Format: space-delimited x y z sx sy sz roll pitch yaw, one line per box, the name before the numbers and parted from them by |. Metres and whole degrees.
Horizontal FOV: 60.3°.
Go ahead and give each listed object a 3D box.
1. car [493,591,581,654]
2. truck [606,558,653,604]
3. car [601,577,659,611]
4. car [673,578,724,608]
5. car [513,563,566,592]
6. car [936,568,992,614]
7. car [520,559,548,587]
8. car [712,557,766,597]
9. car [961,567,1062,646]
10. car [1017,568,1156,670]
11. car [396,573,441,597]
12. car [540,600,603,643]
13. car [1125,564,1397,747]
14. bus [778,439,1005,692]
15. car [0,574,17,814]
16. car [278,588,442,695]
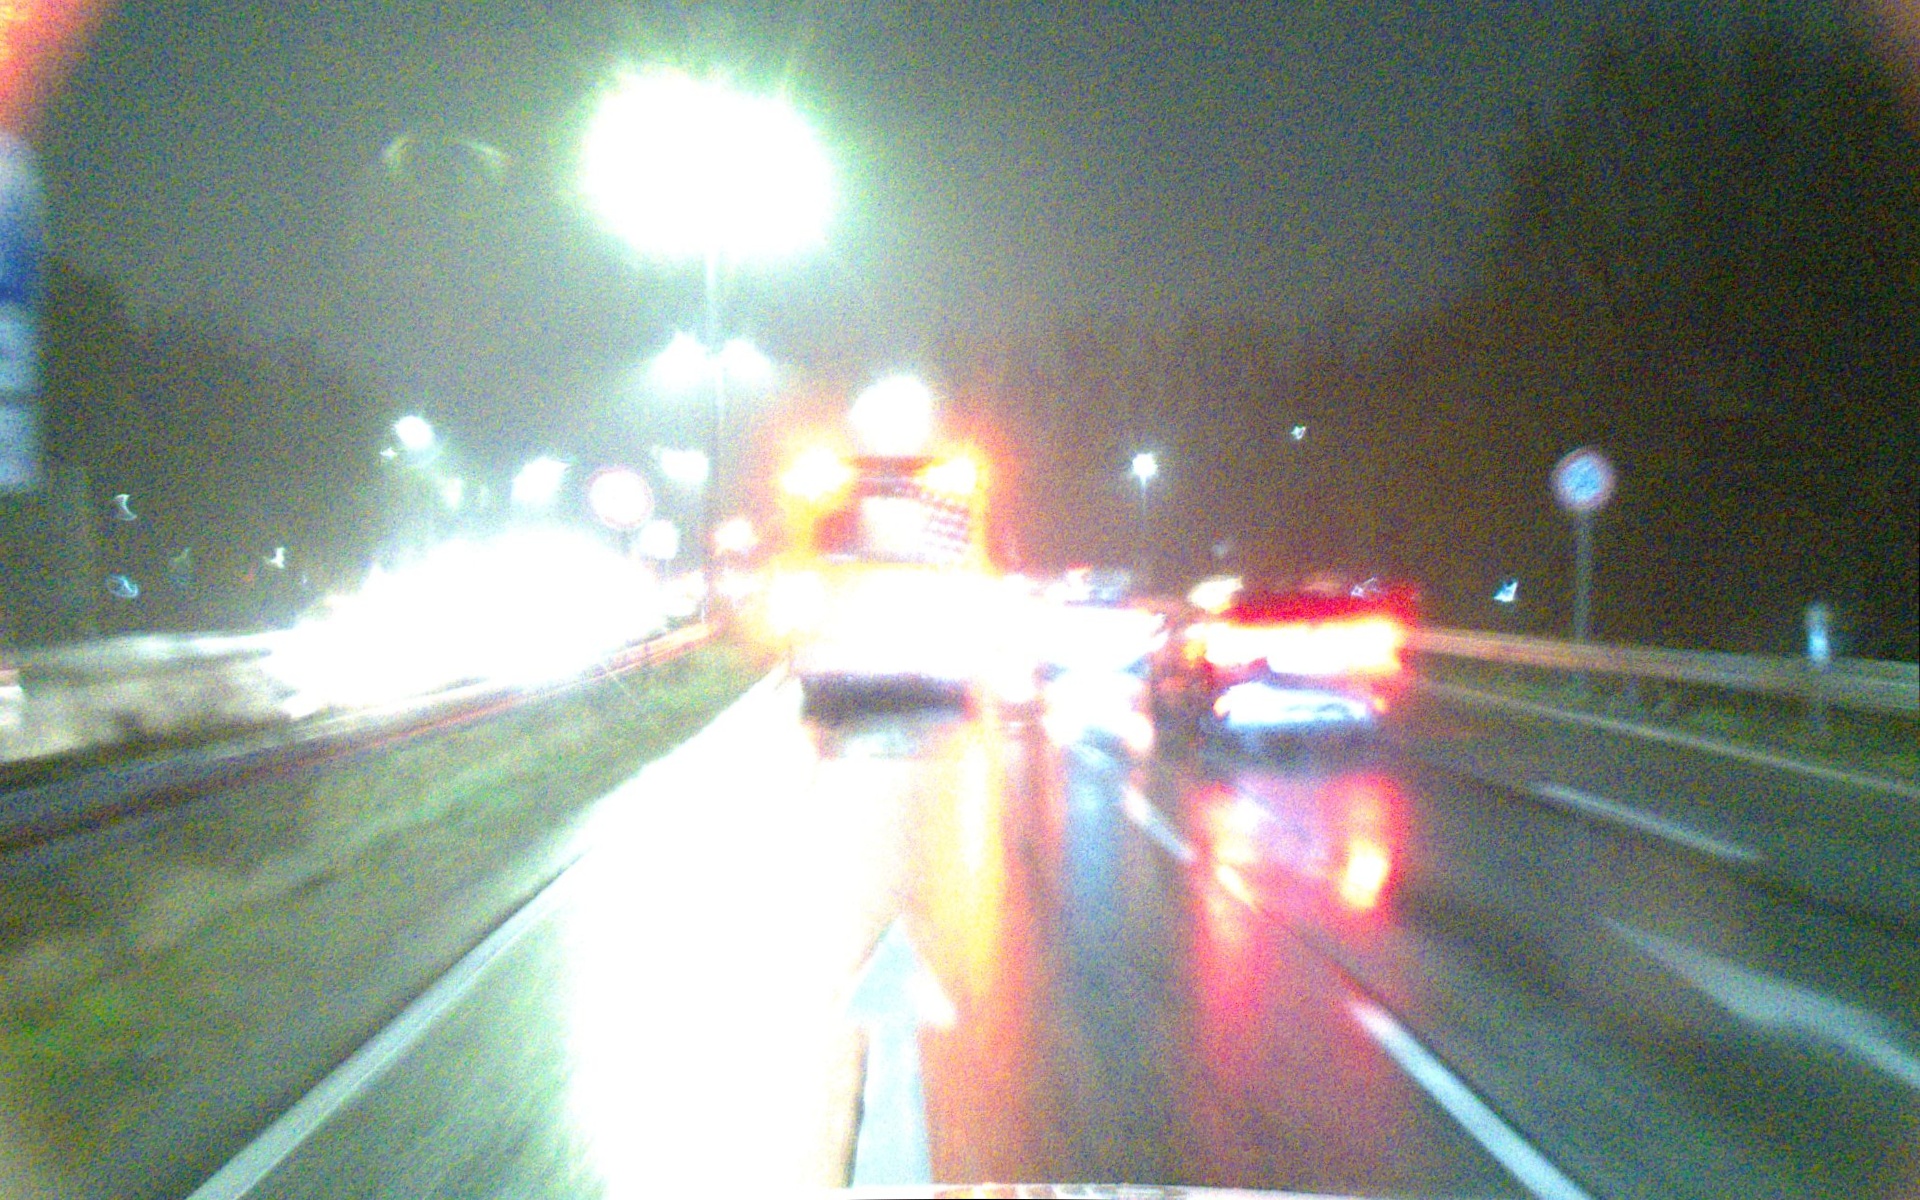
car | -12.370 0.622 48.594 1.774 1.595 3.996 -4 1 -5
truck | -19.500 -1.173 97.501 1.830 2.434 4.749 -2 4 -21
car | -20.952 -0.387 105.021 2.194 2.049 3.949 -1 1 -36
car | -15.188 -0.404 95.952 1.733 1.659 3.586 1 0 -30
car | -30.082 -1.593 118.191 1.985 2.049 3.935 1 0 -44
car | 0.111 -0.336 59.290 1.744 1.570 3.872 0 0 -4
car | -33.229 -2.106 129.038 2.086 2.049 3.984 1 0 -15
car | -11.824 -1.212 88.309 1.966 2.049 3.973 1 0 -22
car | 1.093 0.114 36.747 1.784 1.618 3.773 -1 1 -5
car | 2.112 0.282 28.615 1.784 1.618 3.773 -1 1 -5
car | -43.159 -1.192 131.795 1.982 1.715 3.943 2 1 -40
car | -15.094 0.824 64.415 1.782 1.418 4.455 -4 1 -6
car | 2.836 0.474 16.407 1.705 1.592 3.773 1 0 -5
bus | -1.109 -0.453 24.538 2.760 3.077 8.681 0 0 -4
car | -7.367 0.686 9.725 1.589 1.680 3.996 -2 0 -5
car | -9.989 0.635 27.821 1.537 1.569 4.156 -4 1 -6
